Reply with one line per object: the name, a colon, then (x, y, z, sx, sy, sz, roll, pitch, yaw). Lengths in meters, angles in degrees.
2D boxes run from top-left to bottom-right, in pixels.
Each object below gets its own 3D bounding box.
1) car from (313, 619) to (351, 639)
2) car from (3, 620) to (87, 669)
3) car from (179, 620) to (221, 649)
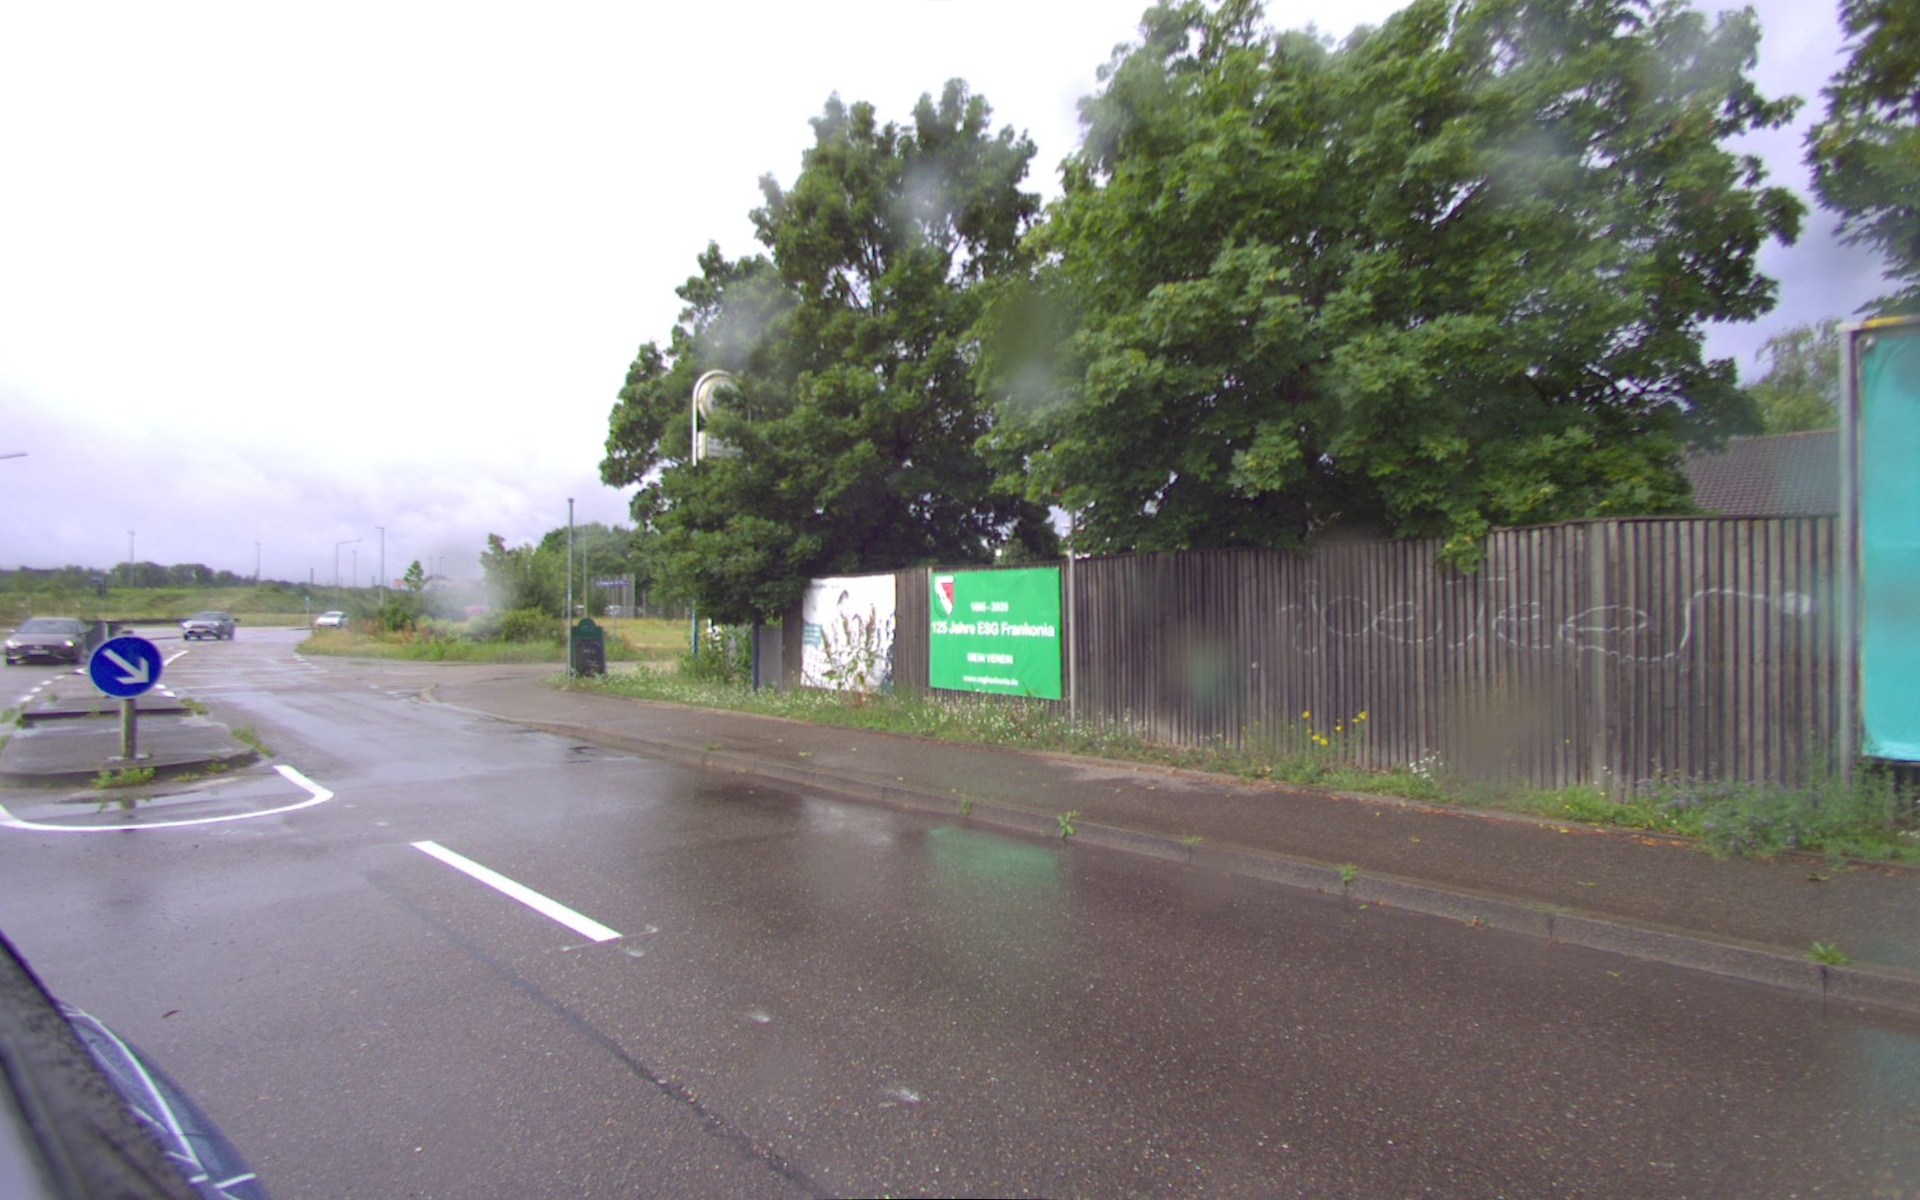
car: (-55.318, 2.524, 89.207, 1.768, 1.645, 3.828, 0, -1, -14)
car: (-29.313, 1.383, 32.517, 1.697, 1.443, 3.826, 0, -1, -37)
car: (-45.607, 2.064, 60.789, 1.620, 1.645, 3.679, 0, -1, -31)
